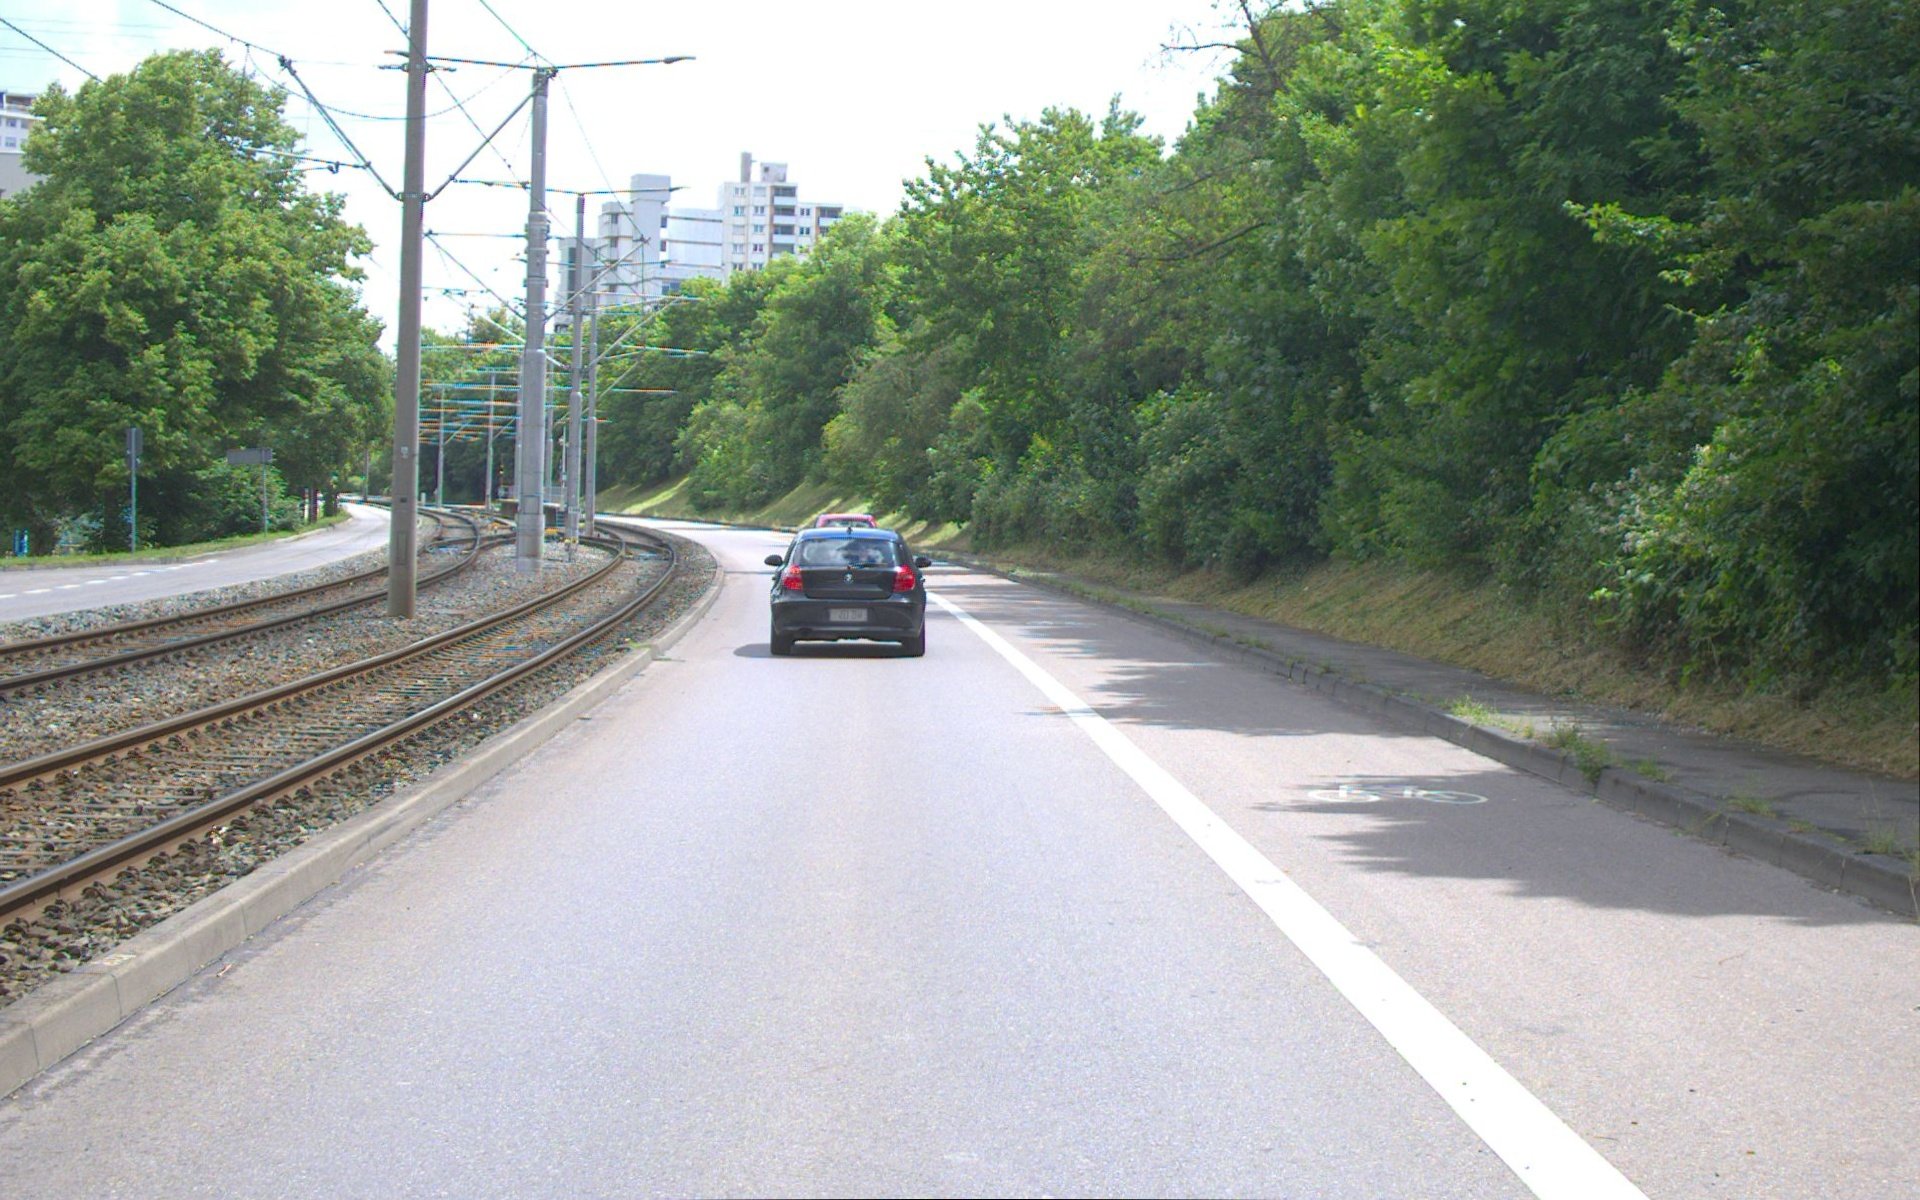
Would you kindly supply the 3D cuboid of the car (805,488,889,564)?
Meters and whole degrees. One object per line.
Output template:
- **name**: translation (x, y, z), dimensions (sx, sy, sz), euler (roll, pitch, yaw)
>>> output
- **car**: translation (-2.390, -1.554, 73.167), dimensions (1.624, 1.438, 3.421), euler (3, 0, 0)

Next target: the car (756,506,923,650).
- **car**: translation (-1.349, -0.264, 38.886), dimensions (1.708, 1.455, 3.961), euler (3, 1, -2)
